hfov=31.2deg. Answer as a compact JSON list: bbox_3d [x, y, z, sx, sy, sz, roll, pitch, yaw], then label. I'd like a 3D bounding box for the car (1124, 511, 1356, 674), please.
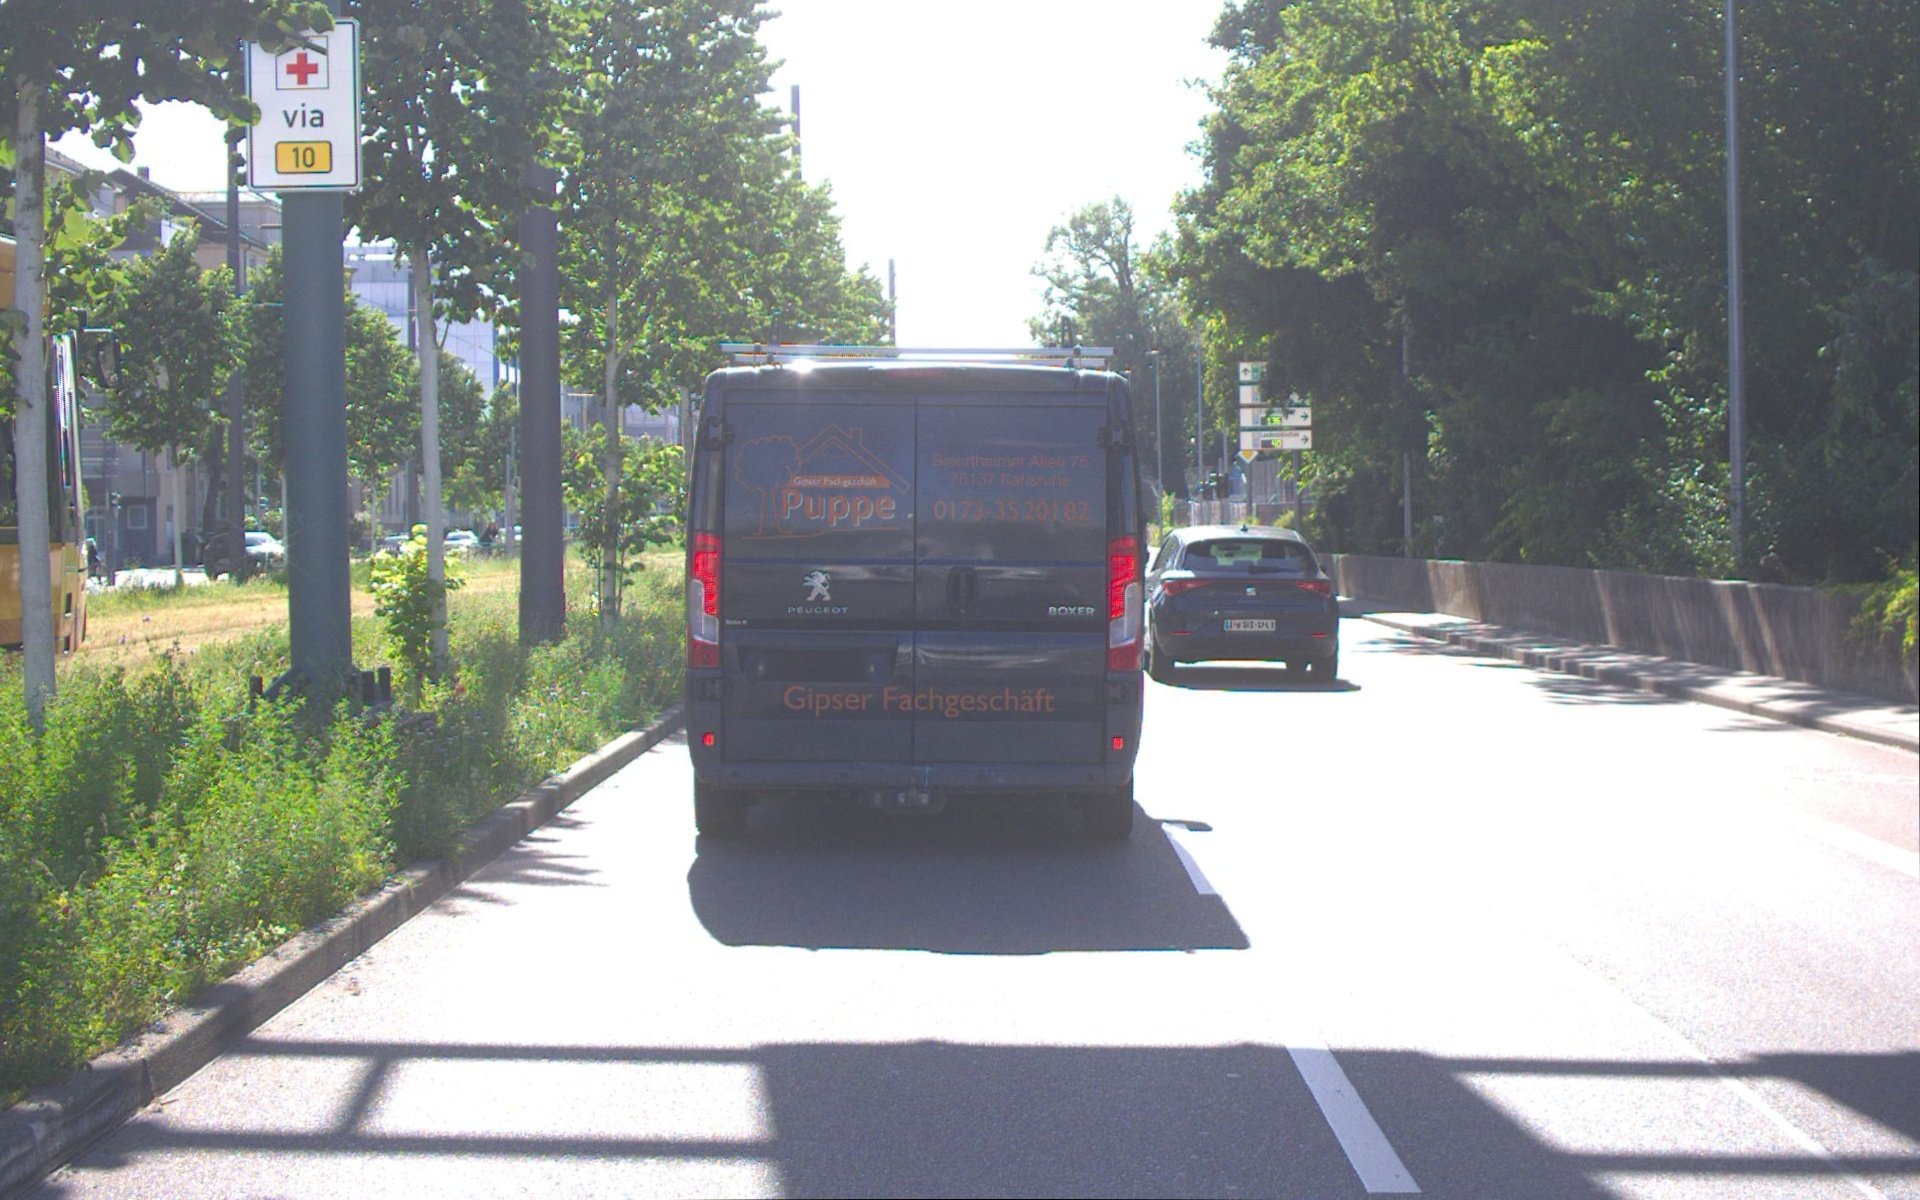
[{"bbox_3d":[2.620,-0.115,32.978,1.763,1.457,4.001,0,1,-2],"label":"car"}]

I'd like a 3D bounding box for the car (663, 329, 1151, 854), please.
[{"bbox_3d":[-0.244,-0.082,16.756,2.082,2.241,4.000,0,1,0],"label":"car"}]

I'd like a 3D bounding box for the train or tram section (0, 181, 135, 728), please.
[{"bbox_3d":[-7.447,-0.926,20.786,1.993,3.656,11.684,0,1,1],"label":"train or tram section"}]

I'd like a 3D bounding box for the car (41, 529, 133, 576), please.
[{"bbox_3d":[-29.418,-1.609,115.956,1.993,1.546,4.000,0,1,1],"label":"car"}]
